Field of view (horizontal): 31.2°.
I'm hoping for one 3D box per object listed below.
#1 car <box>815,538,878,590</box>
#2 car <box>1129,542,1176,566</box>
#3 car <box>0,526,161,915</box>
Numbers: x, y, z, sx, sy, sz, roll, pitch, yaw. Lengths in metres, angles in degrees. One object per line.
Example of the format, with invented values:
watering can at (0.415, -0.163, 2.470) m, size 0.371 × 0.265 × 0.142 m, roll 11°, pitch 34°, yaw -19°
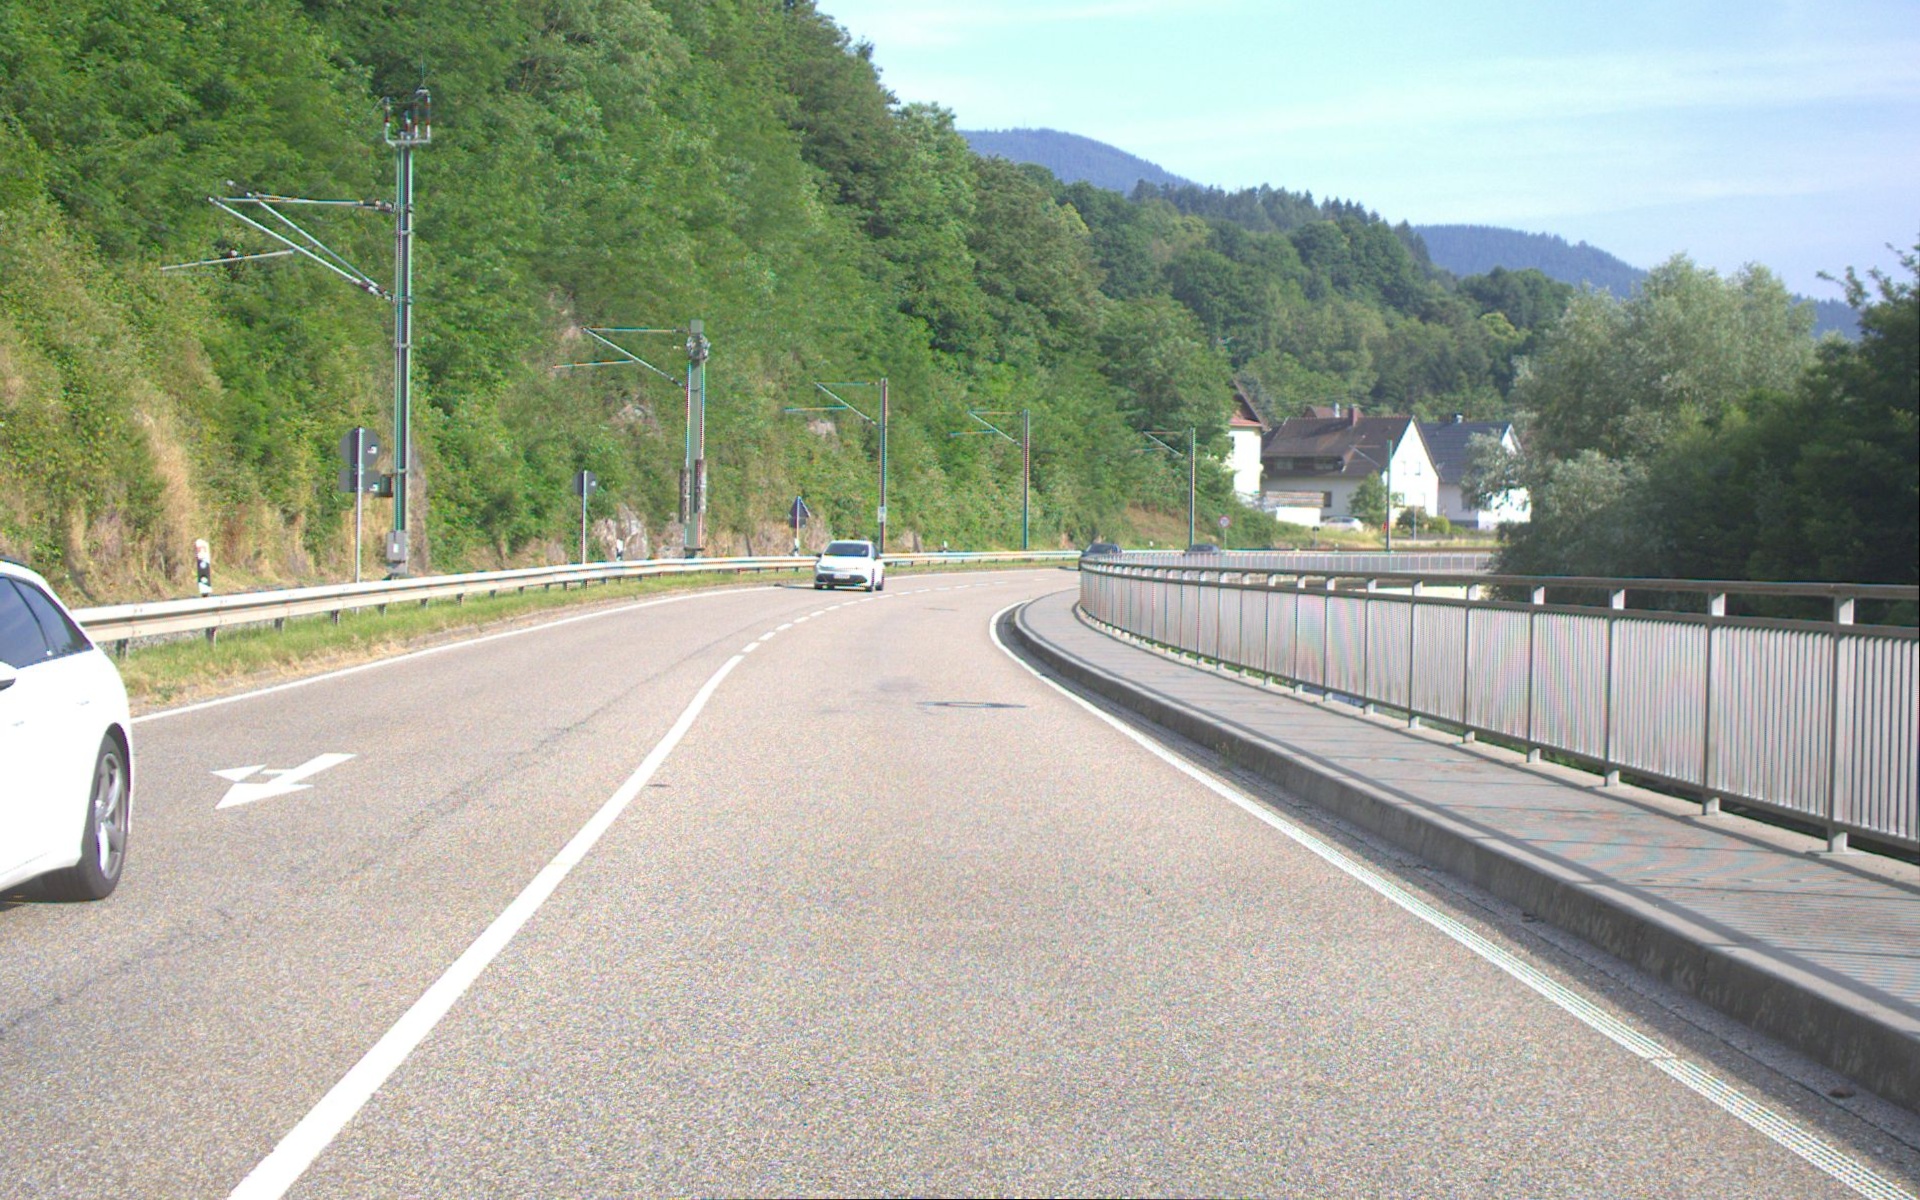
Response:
car at (-3.460, -1.125, 105.354) m, size 1.847 × 1.539 × 4.604 m, roll 0°, pitch 1°, yaw -1°
car at (11.128, -2.675, 198.954) m, size 1.848 × 1.397 × 4.473 m, roll 1°, pitch 1°, yaw 15°
car at (-4.562, 0.428, 12.801) m, size 2.063 × 1.434 × 4.686 m, roll 1°, pitch 1°, yaw 0°
